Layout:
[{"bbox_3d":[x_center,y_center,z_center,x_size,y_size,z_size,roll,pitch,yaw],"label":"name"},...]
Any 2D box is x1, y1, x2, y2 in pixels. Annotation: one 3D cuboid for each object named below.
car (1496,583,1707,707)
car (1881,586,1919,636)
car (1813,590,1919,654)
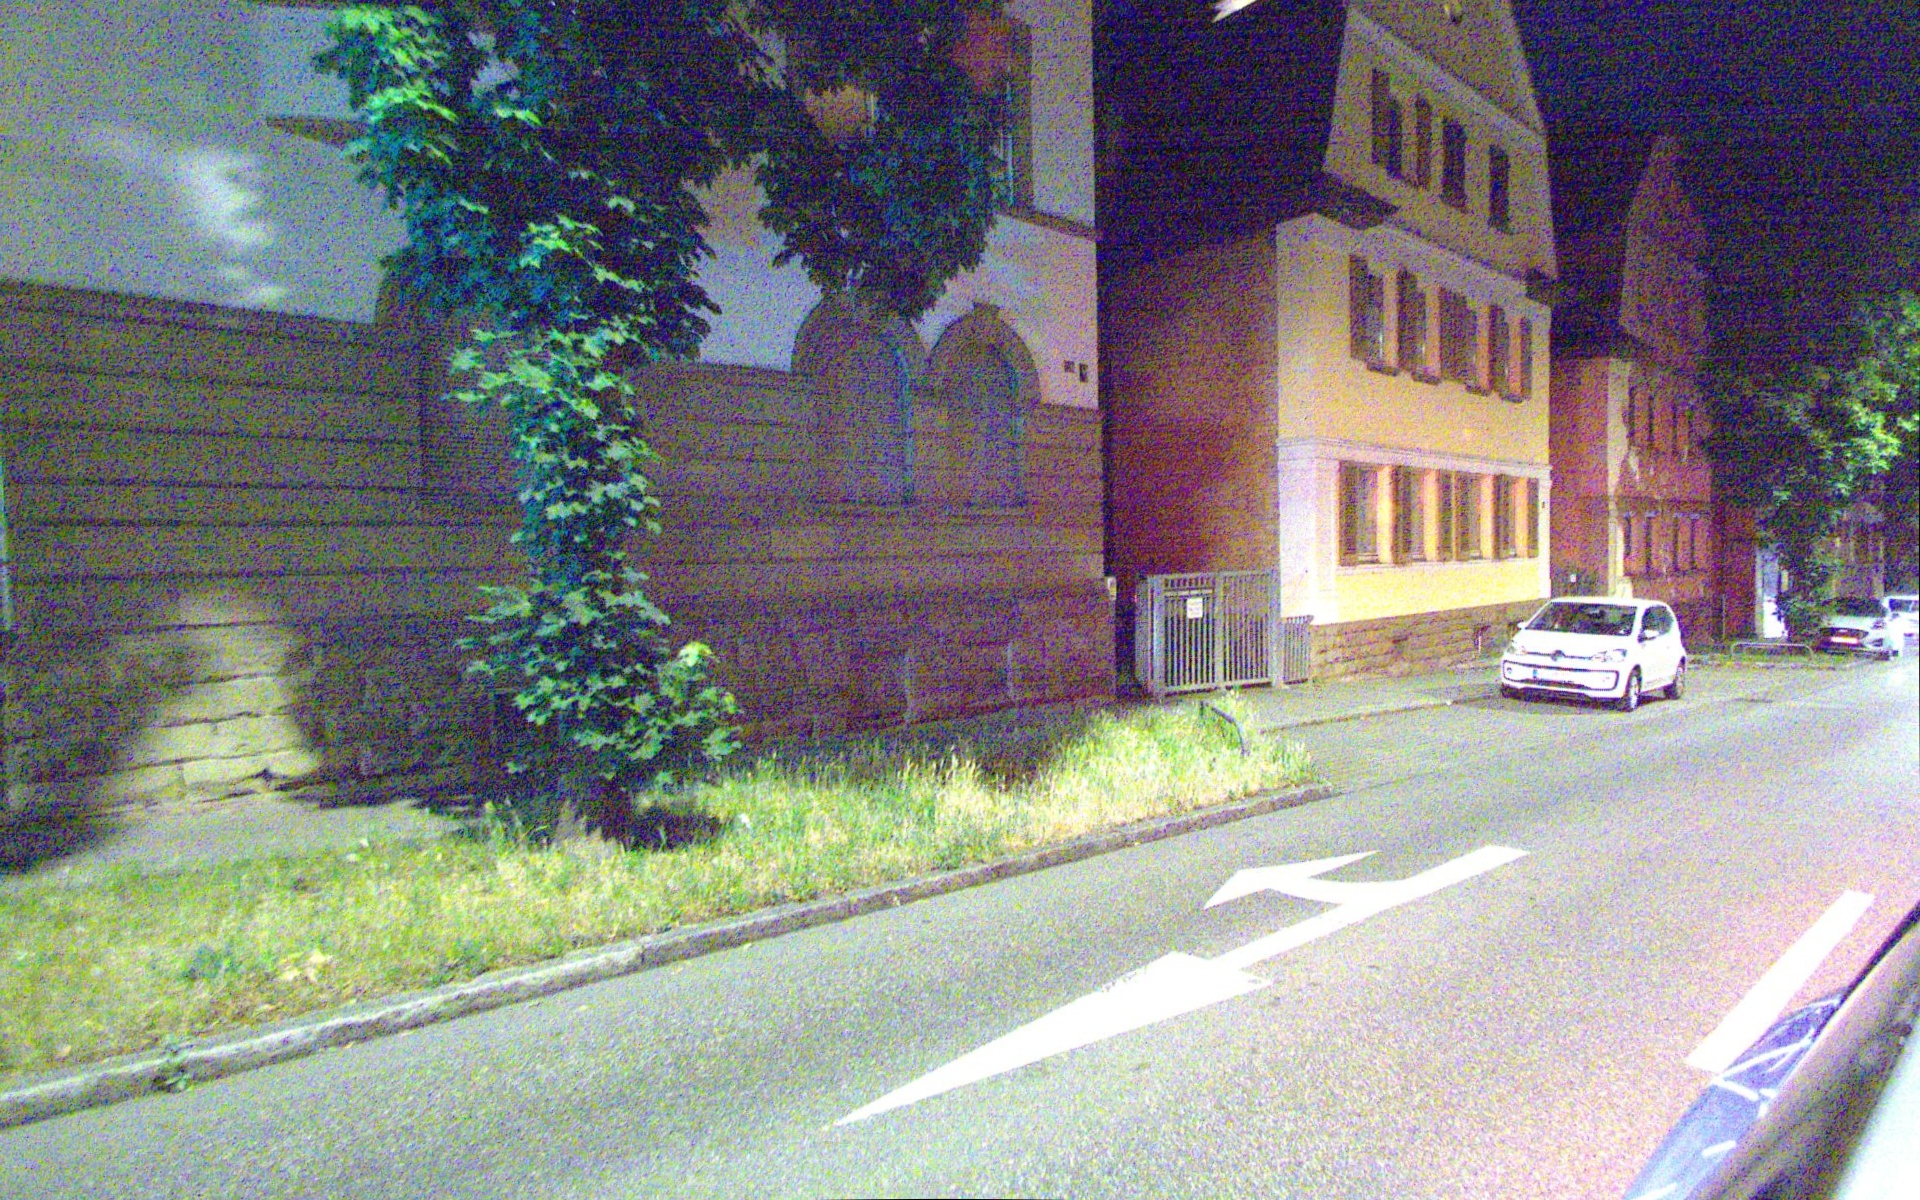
[{"bbox_3d":[9.262,0.558,14.525,3.425,1.527,1.610,0,2,-41],"label":"car"},{"bbox_3d":[33.538,0.372,35.146,4.107,1.673,1.850,0,0,-42],"label":"car"},{"bbox_3d":[23.615,0.511,26.287,3.824,1.516,1.740,0,2,-43],"label":"car"}]
